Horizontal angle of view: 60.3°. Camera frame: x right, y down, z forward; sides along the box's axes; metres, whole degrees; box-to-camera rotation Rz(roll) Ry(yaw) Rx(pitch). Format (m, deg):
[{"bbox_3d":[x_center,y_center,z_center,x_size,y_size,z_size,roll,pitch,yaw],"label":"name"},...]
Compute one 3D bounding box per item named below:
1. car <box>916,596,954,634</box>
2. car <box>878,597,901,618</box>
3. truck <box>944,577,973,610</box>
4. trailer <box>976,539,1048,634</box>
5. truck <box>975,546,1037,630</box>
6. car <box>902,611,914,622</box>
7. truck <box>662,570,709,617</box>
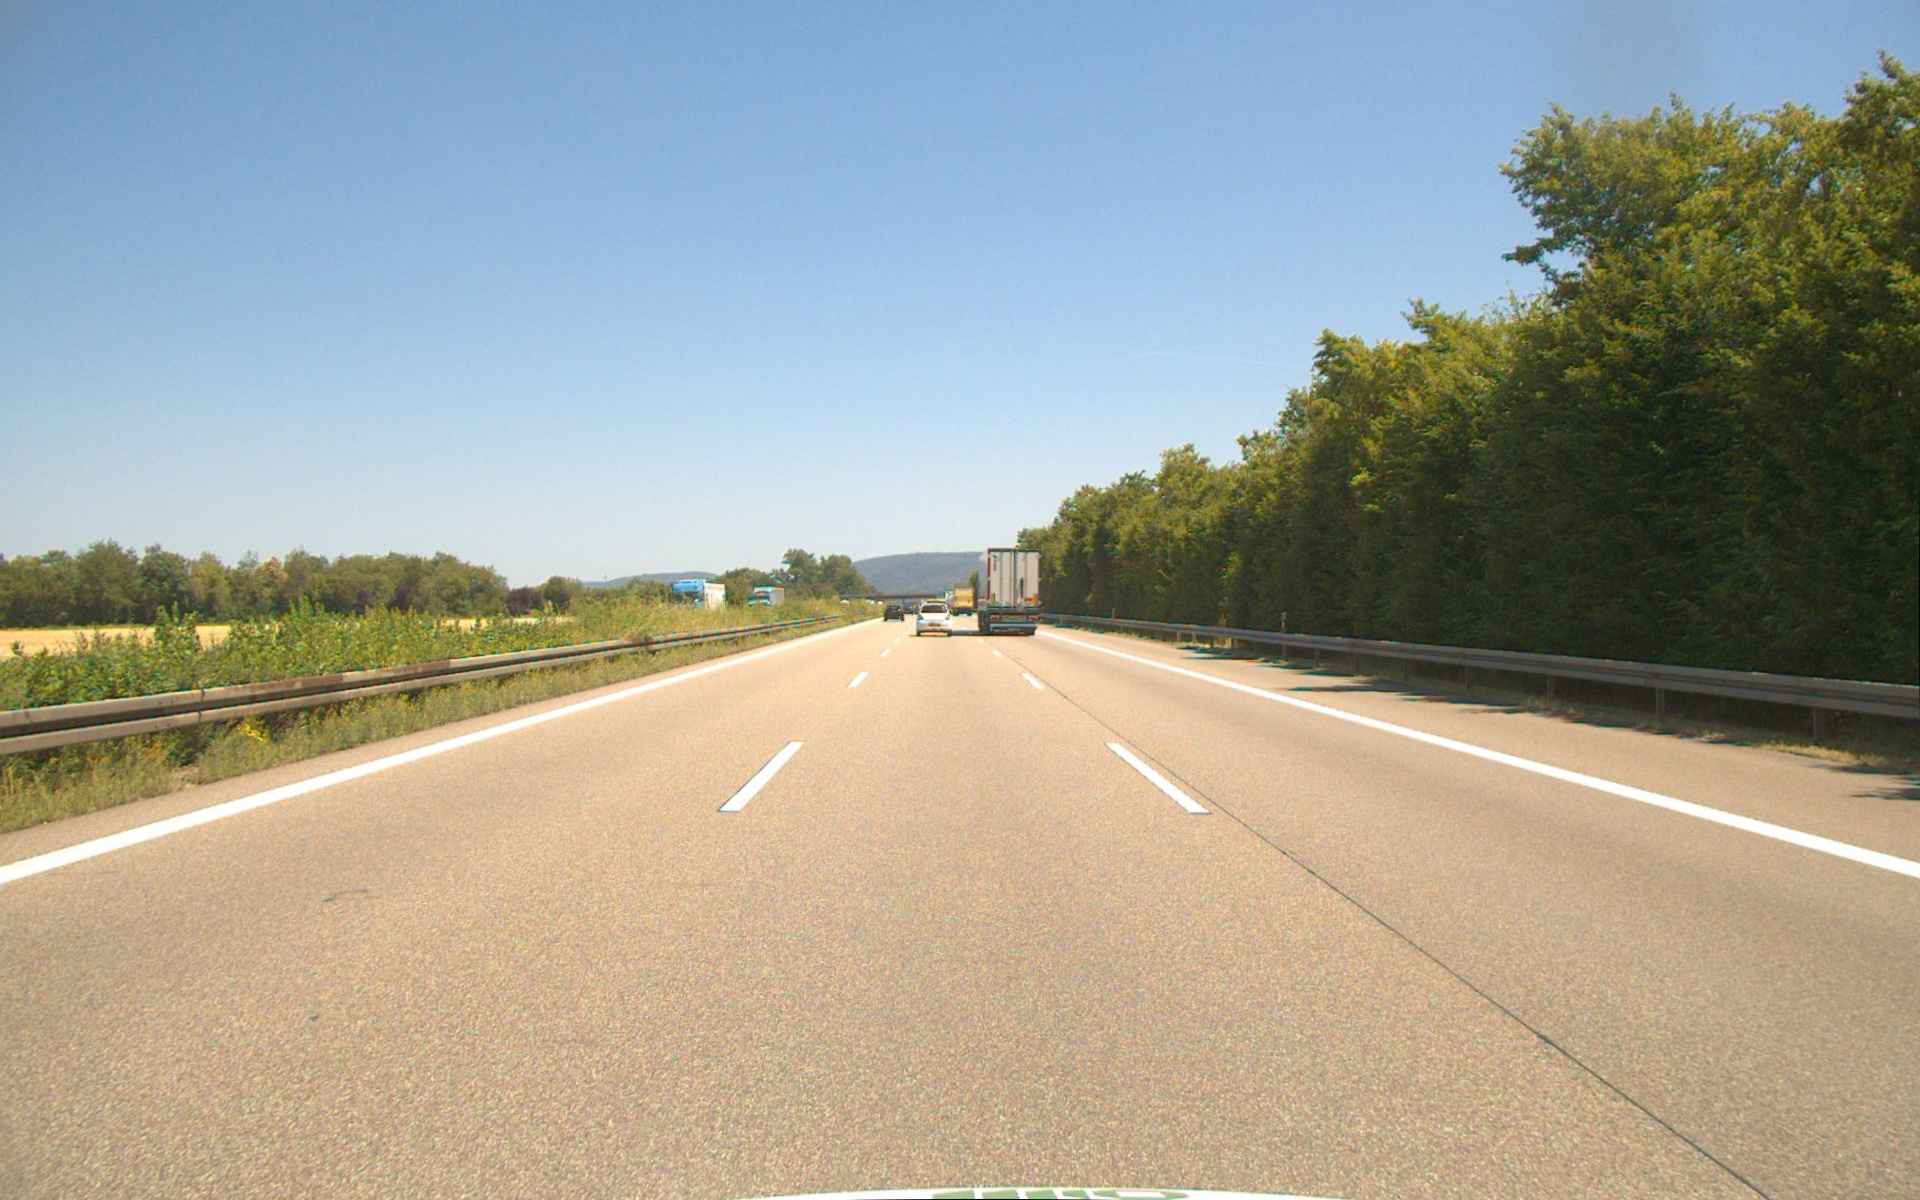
[{"bbox_3d":[-1.196,0.690,77.942,1.697,1.713,3.999,-1,0,-2],"label":"car"},{"bbox_3d":[-6.116,0.661,143.883,1.953,1.742,3.998,1,0,-2],"label":"car"},{"bbox_3d":[-0.276,-0.836,230.453,3.793,4.421,13.857,1,0,-1],"label":"truck"},{"bbox_3d":[2.504,-0.633,84.414,3.152,4.421,13.627,1,0,0],"label":"trailer"},{"bbox_3d":[2.469,-0.627,91.534,3.152,4.421,6.589,1,0,0],"label":"truck"},{"bbox_3d":[-7.463,2.368,236.892,1.759,1.578,3.999,0,0,-1],"label":"car"},{"bbox_3d":[-22.756,-0.548,137.525,3.047,3.763,5.197,1,0,-1],"label":"truck"}]
